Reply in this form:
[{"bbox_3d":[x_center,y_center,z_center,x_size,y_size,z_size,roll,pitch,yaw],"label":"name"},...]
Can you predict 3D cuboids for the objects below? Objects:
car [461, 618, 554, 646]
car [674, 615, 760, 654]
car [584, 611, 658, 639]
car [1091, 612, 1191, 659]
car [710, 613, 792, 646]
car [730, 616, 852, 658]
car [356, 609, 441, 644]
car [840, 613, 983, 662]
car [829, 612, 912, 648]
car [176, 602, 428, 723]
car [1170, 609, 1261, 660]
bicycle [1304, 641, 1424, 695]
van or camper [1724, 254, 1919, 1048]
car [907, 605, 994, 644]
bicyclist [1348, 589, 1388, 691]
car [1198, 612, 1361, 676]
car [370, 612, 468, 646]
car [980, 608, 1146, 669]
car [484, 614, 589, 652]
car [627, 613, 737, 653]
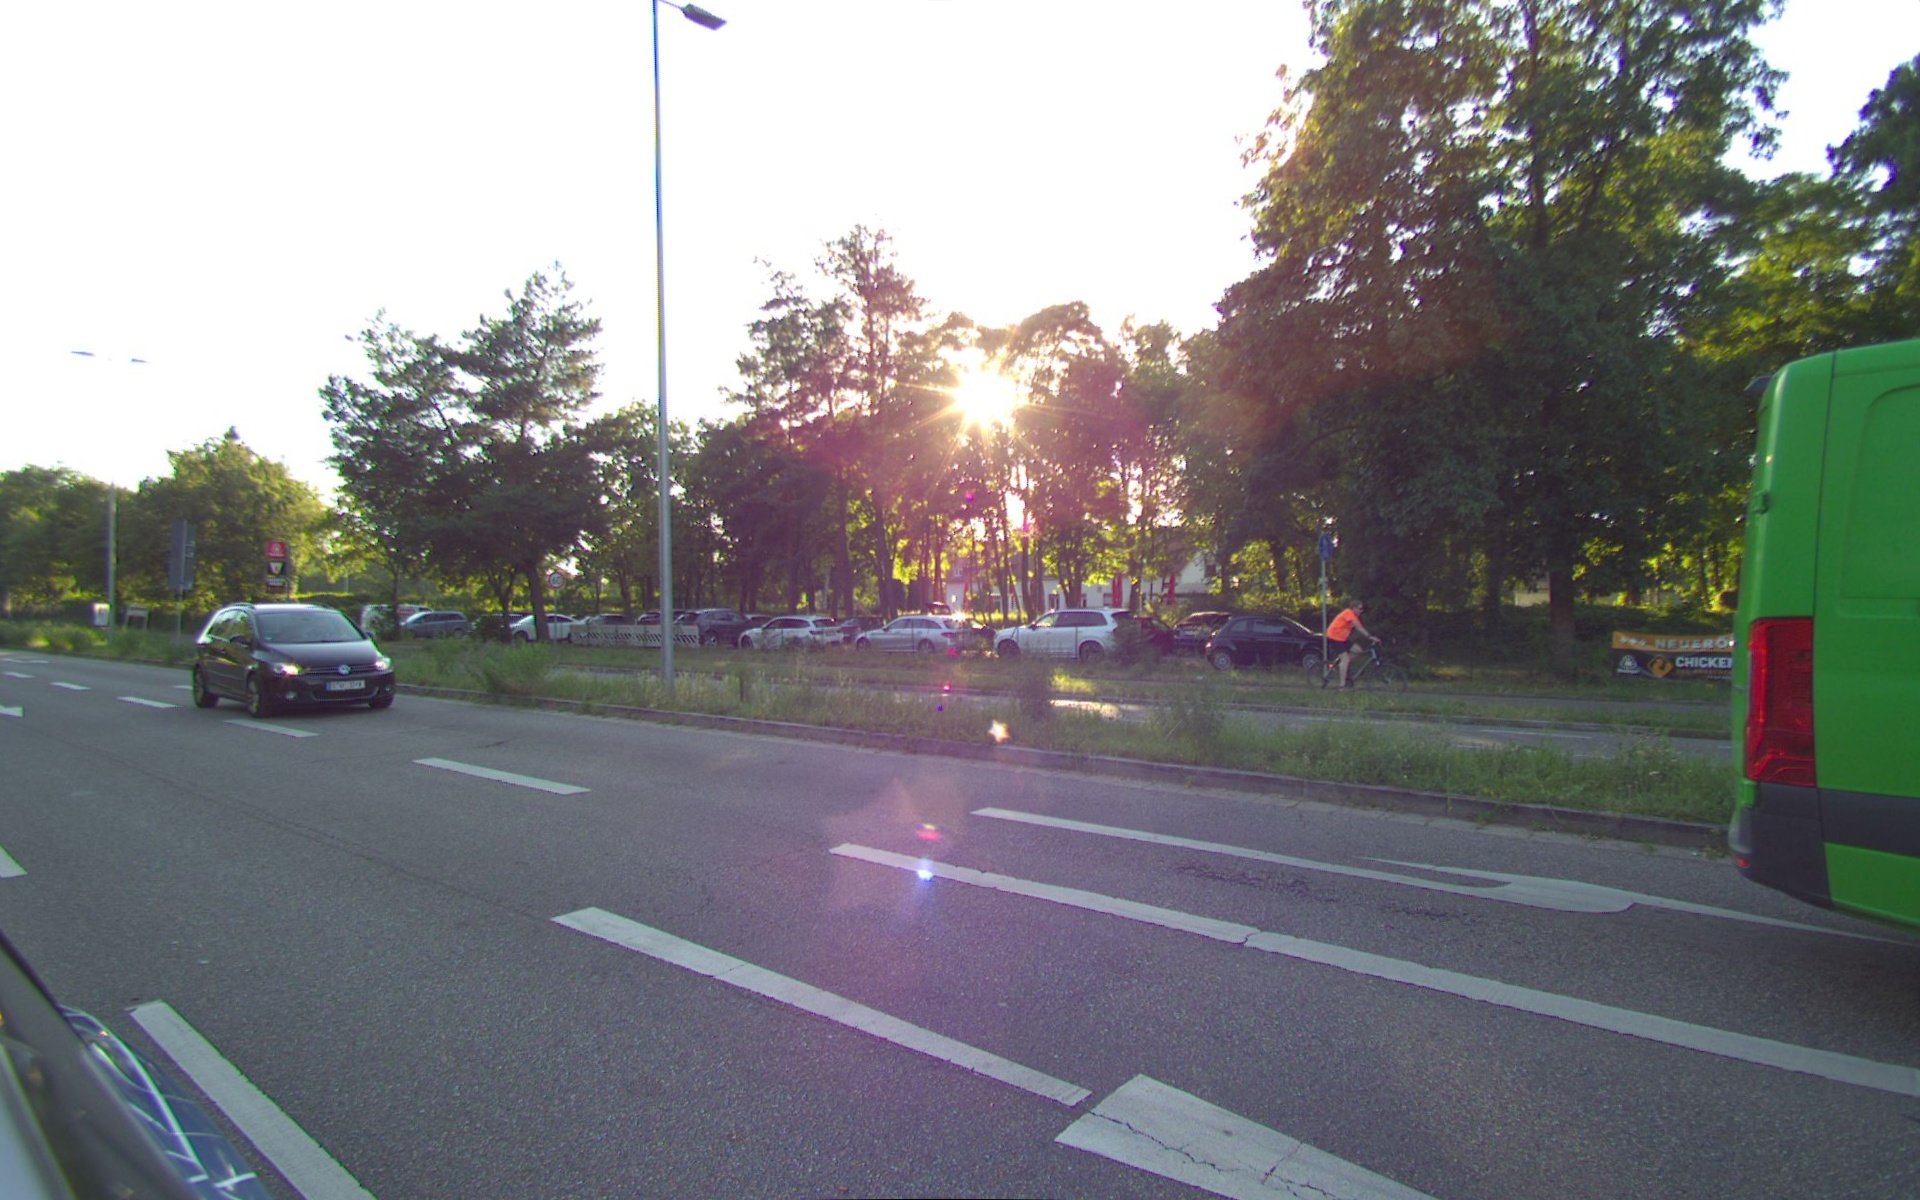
[{"bbox_3d":[-22.764,1.590,51.017,1.731,1.322,3.947,-1,-2,39],"label":"car"},{"bbox_3d":[-9.896,1.398,41.342,1.657,1.538,3.060,-1,-2,38],"label":"car"},{"bbox_3d":[-20.495,1.503,61.246,1.765,1.663,3.947,-1,-2,40],"label":"car"},{"bbox_3d":[6.824,1.308,37.853,1.918,1.663,3.944,-1,-2,42],"label":"car"},{"bbox_3d":[-10.900,1.518,52.956,1.765,1.663,3.947,-1,-2,40],"label":"car"},{"bbox_3d":[-6.603,1.412,39.302,4.701,1.560,1.975,-1,-2,37],"label":"car"},{"bbox_3d":[-32.534,1.514,58.681,1.764,1.959,3.949,-1,-2,38],"label":"car"},{"bbox_3d":[-1.744,1.283,35.599,4.913,1.619,1.975,-1,-2,37],"label":"car"},{"bbox_3d":[-4.319,1.447,49.054,1.765,1.663,3.947,-1,-2,39],"label":"car"},{"bbox_3d":[-9.919,0.855,15.175,3.994,1.564,1.975,-1,-2,38],"label":"car"},{"bbox_3d":[9.002,1.171,35.451,1.914,1.663,3.954,-1,-1,34],"label":"car"},{"bbox_3d":[7.584,1.253,19.052,2.038,0.940,0.488,-1,-2,33],"label":"bicycle"},{"bbox_3d":[5.471,0.133,2.272,5.891,2.439,1.973,-1,-2,40],"label":"van or camper"},{"bbox_3d":[-0.384,1.100,45.119,1.765,1.663,3.947,-1,-2,39],"label":"car"},{"bbox_3d":[7.670,0.740,19.012,0.616,1.888,0.454,-1,-2,33],"label":"bicyclist"},{"bbox_3d":[8.574,1.144,27.257,3.807,1.609,1.838,-1,-2,36],"label":"car"},{"bbox_3d":[-30.255,1.603,56.665,1.907,1.811,4.443,-1,-2,38],"label":"car"},{"bbox_3d":[3.175,1.174,31.812,4.913,1.800,1.975,-1,-2,37],"label":"car"},{"bbox_3d":[-20.802,1.619,49.852,1.908,1.767,4.441,-1,-2,39],"label":"car"},{"bbox_3d":[-11.982,1.412,43.835,1.769,1.629,4.470,-1,-2,37],"label":"car"}]
